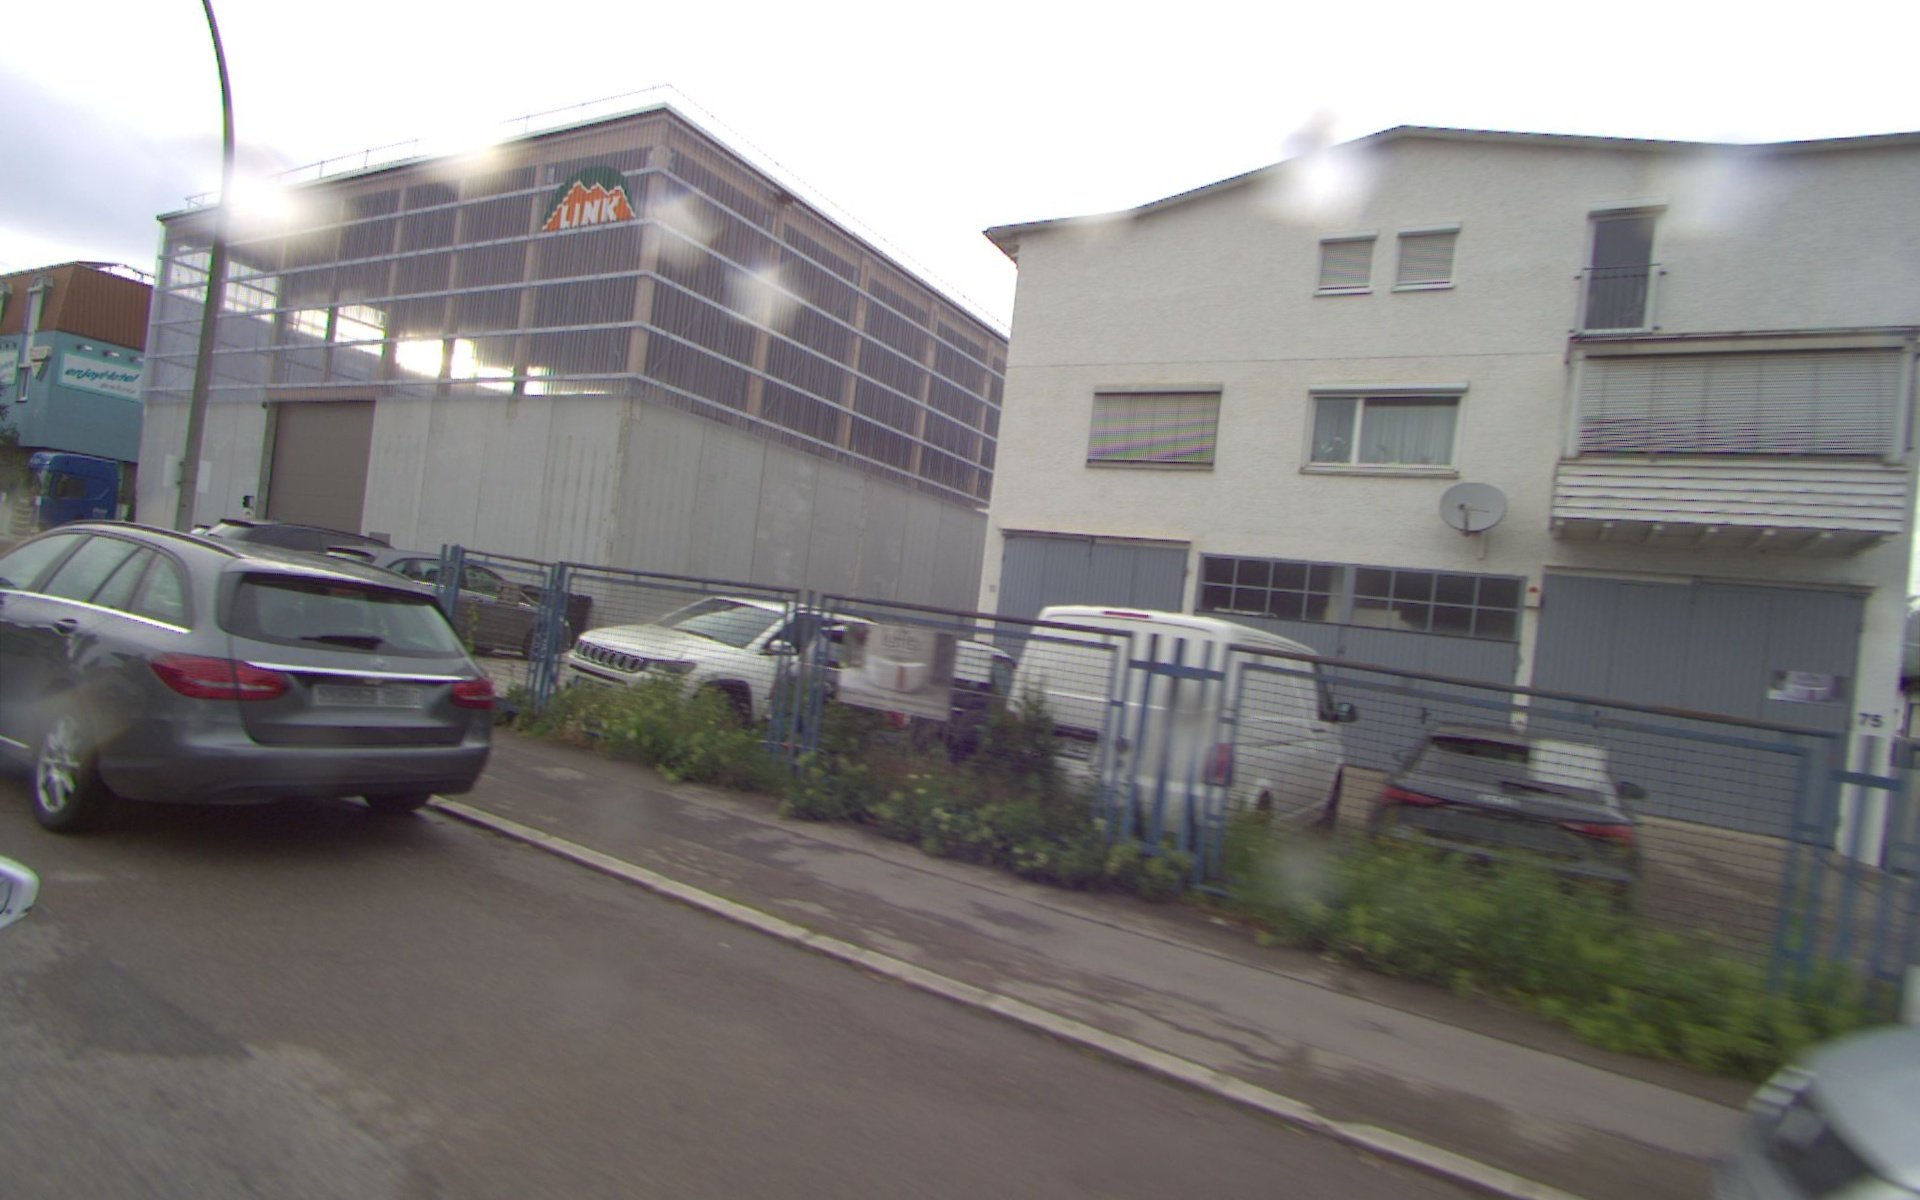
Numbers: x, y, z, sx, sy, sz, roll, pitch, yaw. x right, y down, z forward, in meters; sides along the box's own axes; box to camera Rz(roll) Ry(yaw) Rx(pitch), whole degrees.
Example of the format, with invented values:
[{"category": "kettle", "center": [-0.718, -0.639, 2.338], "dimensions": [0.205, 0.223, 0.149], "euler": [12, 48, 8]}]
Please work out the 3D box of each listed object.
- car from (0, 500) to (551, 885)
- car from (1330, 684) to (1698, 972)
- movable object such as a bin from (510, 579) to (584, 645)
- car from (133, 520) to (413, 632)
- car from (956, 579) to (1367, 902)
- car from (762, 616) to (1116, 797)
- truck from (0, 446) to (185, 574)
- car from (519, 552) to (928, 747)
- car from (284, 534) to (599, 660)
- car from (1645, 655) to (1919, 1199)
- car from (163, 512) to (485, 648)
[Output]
[{"category": "car", "center": [-4.741, 0.304, 6.005], "dimensions": [4.468, 1.483, 1.743], "euler": [7, -2, 30]}, {"category": "car", "center": [4.560, 1.646, 8.350], "dimensions": [1.967, 1.473, 4.114], "euler": [7, -3, 31]}, {"category": "movable object such as a bin", "center": [-9.695, 0.283, 23.622], "dimensions": [1.309, 1.355, 0.839], "euler": [7, -2, 32]}, {"category": "car", "center": [-13.101, -0.389, 19.433], "dimensions": [1.803, 1.506, 3.975], "euler": [7, -2, 32]}, {"category": "car", "center": [2.113, 1.151, 8.985], "dimensions": [1.967, 1.907, 4.743], "euler": [7, -3, 31]}, {"category": "car", "center": [0.018, 1.169, 11.083], "dimensions": [1.819, 1.394, 4.332], "euler": [7, -3, 30]}, {"category": "truck", "center": [-32.041, -3.254, 37.221], "dimensions": [2.673, 3.711, 4.161], "euler": [7, -4, 28]}, {"category": "car", "center": [-2.400, 0.668, 11.489], "dimensions": [1.861, 1.642, 4.457], "euler": [7, -3, 30]}, {"category": "car", "center": [-8.417, 0.041, 16.751], "dimensions": [1.781, 1.554, 4.251], "euler": [7, -1, 31]}, {"category": "car", "center": [3.481, 1.199, 1.120], "dimensions": [4.302, 1.639, 1.742], "euler": [6, -2, 33]}, {"category": "car", "center": [-11.009, -0.271, 17.734], "dimensions": [1.949, 1.693, 4.234], "euler": [7, -3, 33]}]
